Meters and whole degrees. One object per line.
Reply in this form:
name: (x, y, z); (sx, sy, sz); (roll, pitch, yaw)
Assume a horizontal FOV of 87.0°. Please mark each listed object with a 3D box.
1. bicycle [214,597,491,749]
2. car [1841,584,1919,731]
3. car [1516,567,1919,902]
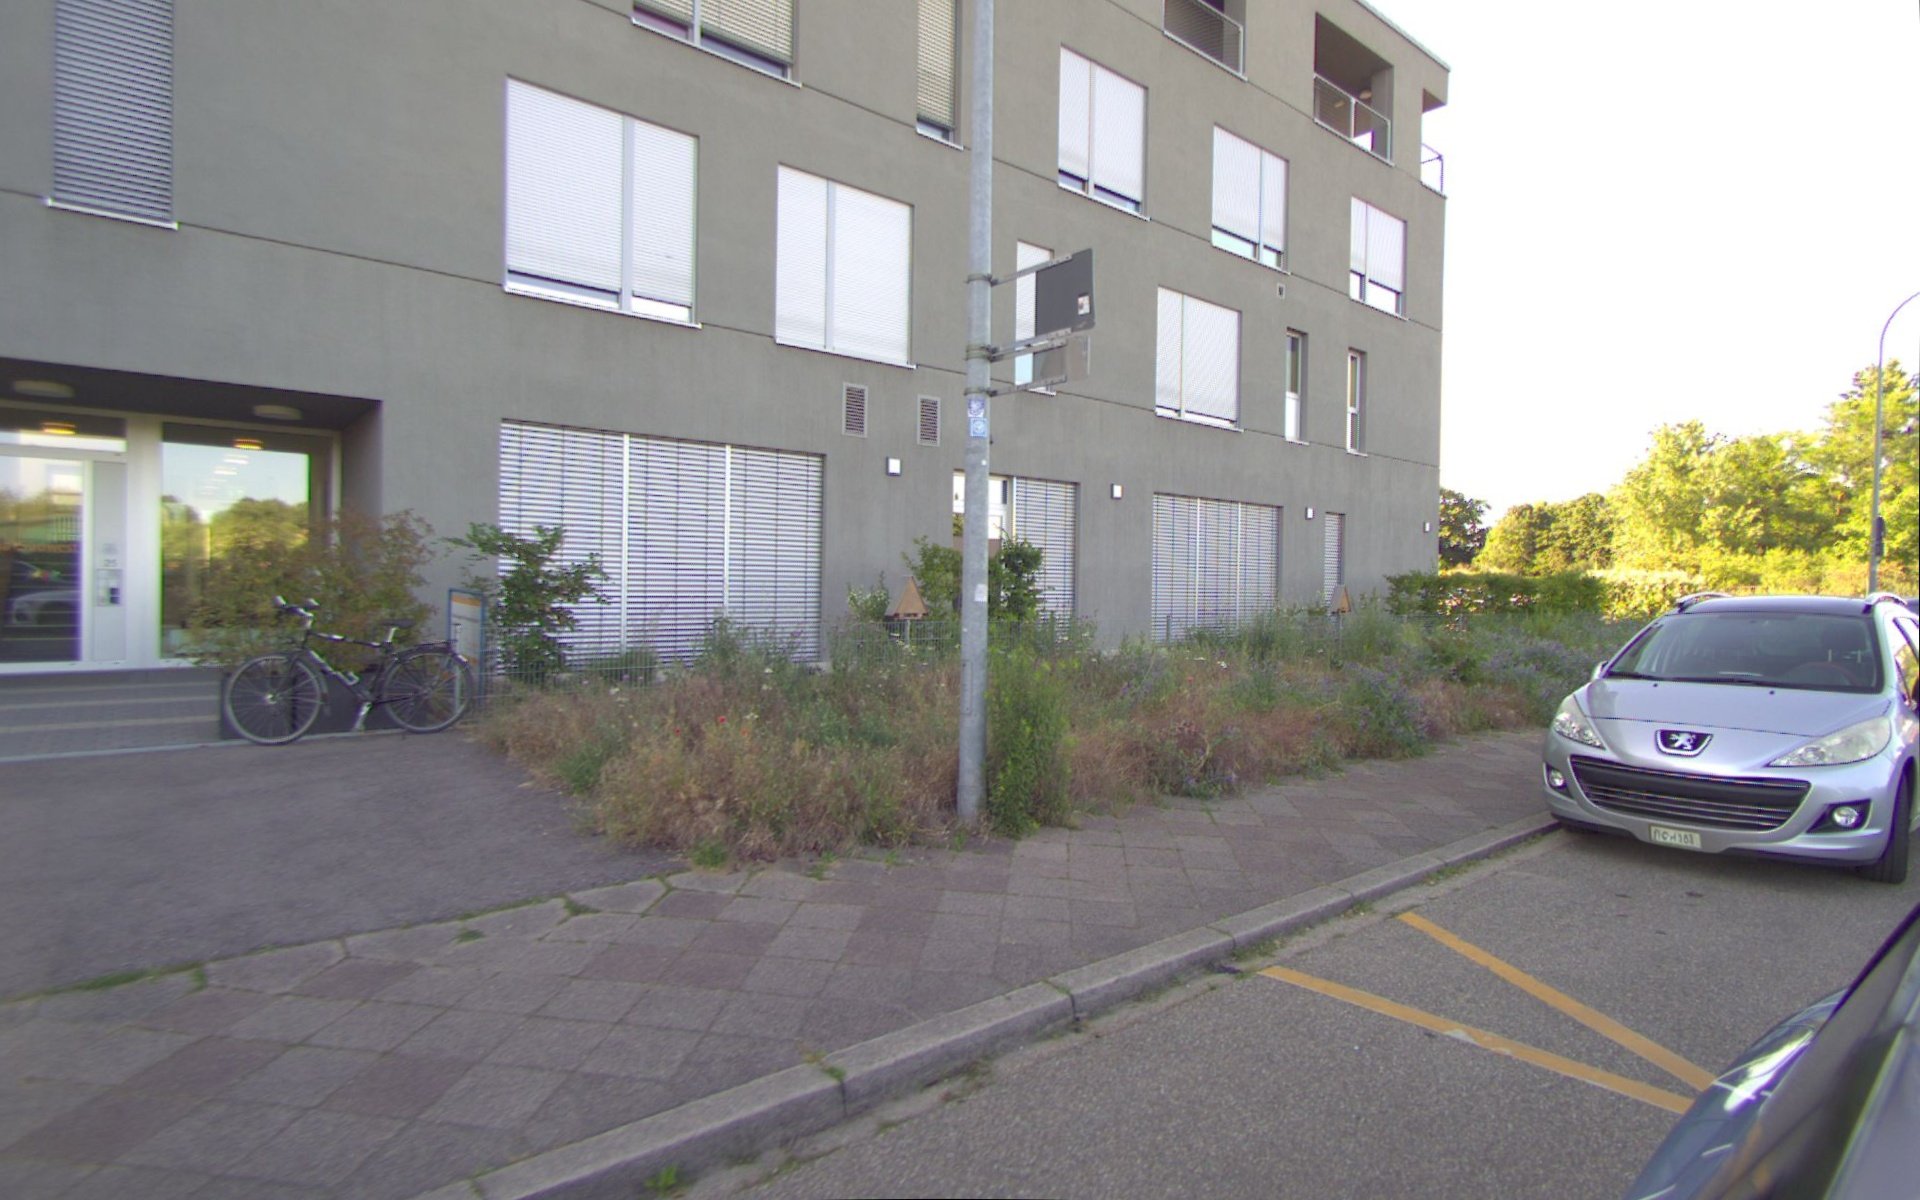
bicycle: (-4.723, 0.517, 7.948); (1.807, 1.074, 0.554); (0, 0, -36)
car: (12.355, 0.608, 12.198); (4.715, 1.587, 1.749); (0, 0, -38)
car: (5.429, 0.614, 6.637); (4.080, 1.545, 1.710); (0, 0, -39)
